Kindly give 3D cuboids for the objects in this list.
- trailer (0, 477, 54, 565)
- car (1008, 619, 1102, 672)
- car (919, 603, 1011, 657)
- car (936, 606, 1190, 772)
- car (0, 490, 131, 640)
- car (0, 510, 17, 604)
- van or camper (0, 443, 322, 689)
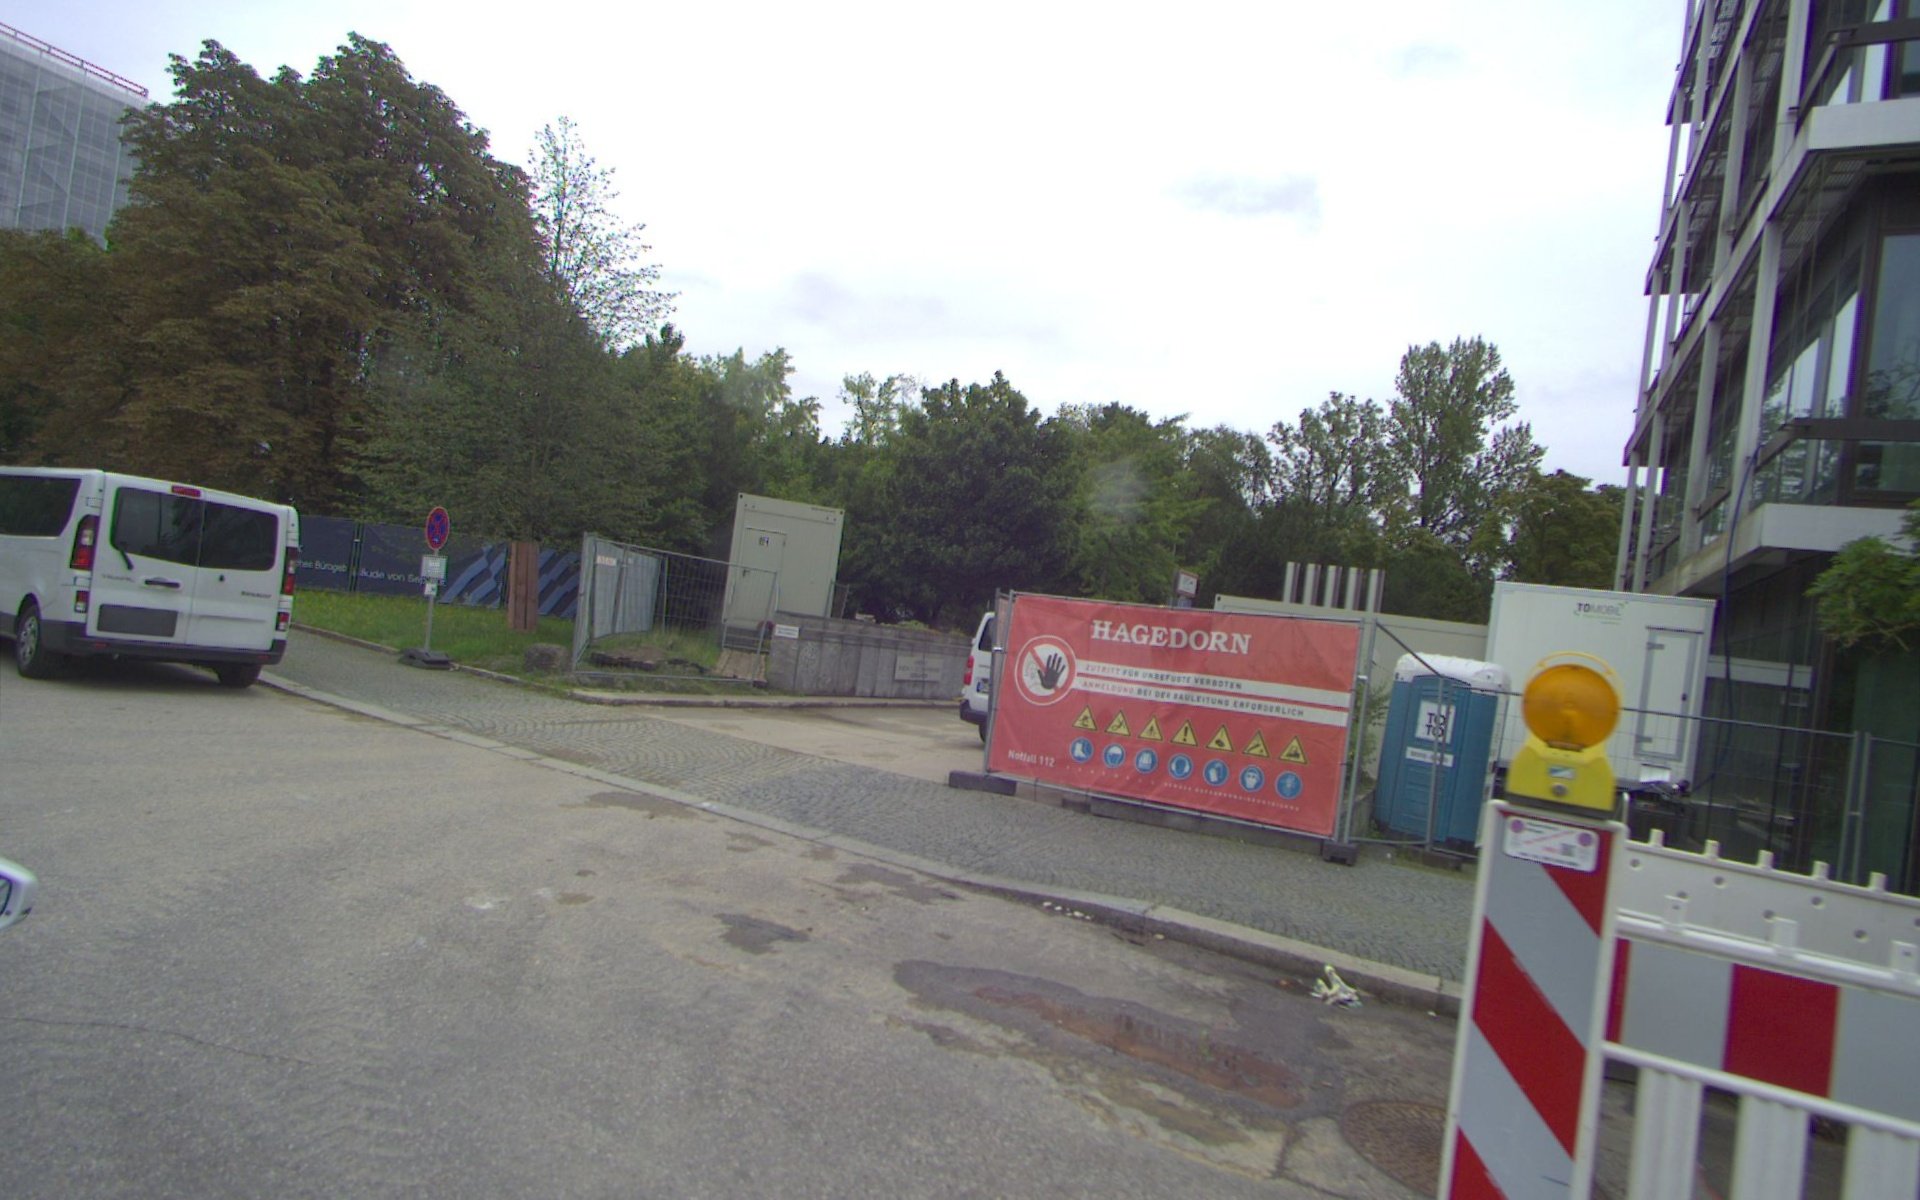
[{"bbox_3d":[-24.424,-2.045,25.109,1.798,2.037,4.792,8,-2,-34],"label":"trailer"},{"bbox_3d":[6.081,2.893,64.453,5.362,2.611,2.076,7,-1,27],"label":"car"},{"bbox_3d":[0.293,1.984,67.119,5.498,2.766,2.076,7,-1,27],"label":"car"},{"bbox_3d":[1.787,1.405,15.498,1.966,1.943,4.774,7,-3,29],"label":"car"},{"bbox_3d":[-13.483,-0.629,13.843,4.380,1.748,1.995,6,-2,35],"label":"car"},{"bbox_3d":[-17.706,-0.953,17.226,4.162,1.503,1.765,6,-2,41],"label":"car"},{"bbox_3d":[-9.322,-0.447,10.853,5.291,2.037,1.996,6,-2,34],"label":"van or camper"}]
